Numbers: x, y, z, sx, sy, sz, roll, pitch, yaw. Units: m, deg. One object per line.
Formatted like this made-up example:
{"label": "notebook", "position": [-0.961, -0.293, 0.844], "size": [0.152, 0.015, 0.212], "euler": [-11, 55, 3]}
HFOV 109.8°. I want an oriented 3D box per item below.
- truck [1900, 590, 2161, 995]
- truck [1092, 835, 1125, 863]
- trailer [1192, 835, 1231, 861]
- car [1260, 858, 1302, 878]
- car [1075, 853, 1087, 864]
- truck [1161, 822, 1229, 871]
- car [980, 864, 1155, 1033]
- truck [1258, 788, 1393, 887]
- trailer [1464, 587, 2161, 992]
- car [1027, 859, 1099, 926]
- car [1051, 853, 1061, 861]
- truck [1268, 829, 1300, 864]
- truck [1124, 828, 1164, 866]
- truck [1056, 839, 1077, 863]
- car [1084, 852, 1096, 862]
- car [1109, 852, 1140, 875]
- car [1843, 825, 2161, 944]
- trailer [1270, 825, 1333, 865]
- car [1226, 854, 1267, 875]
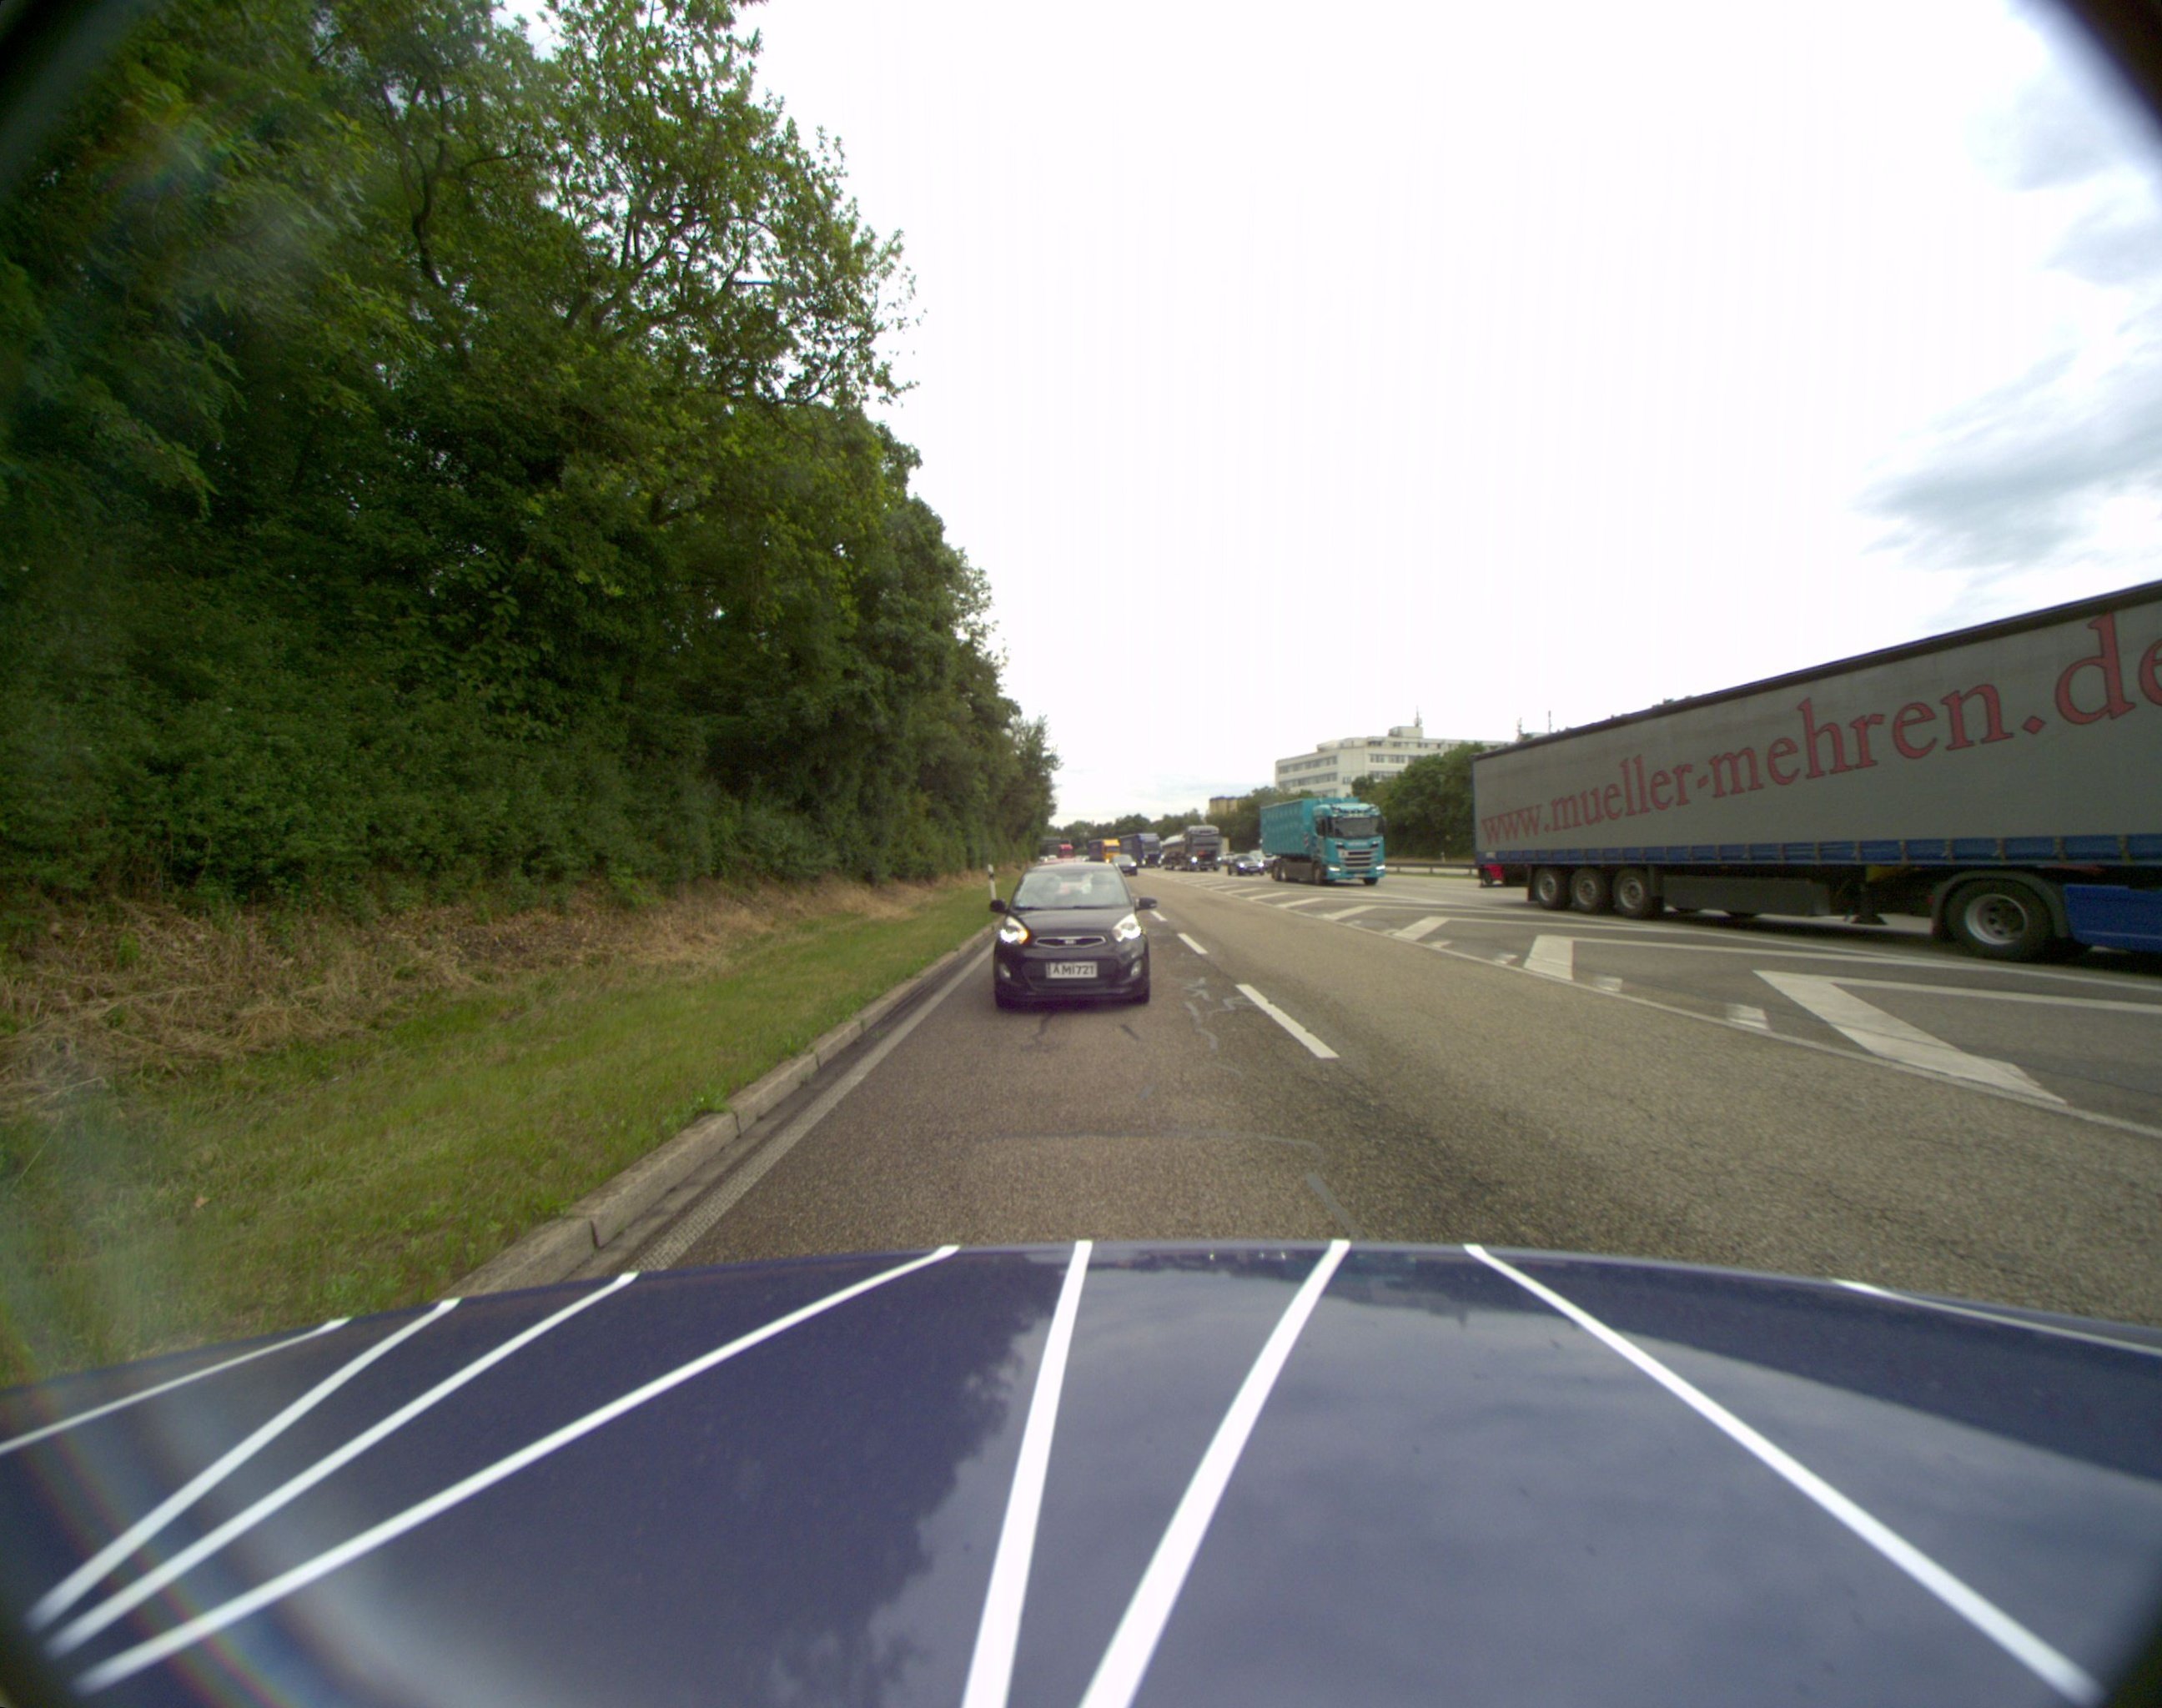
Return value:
{"label": "truck", "position": [11.881, -0.619, 6.785], "size": [2.675, 3.938, 5.926], "euler": [-1, 0, -1]}
{"label": "truck", "position": [4.382, -0.730, 124.686], "size": [2.848, 4.206, 14.110], "euler": [-1, 0, -8]}
{"label": "trailer", "position": [20.698, -0.886, 121.629], "size": [2.405, 4.005, 13.068], "euler": [-1, 0, -7]}
{"label": "car", "position": [15.149, 1.051, 57.704], "size": [1.898, 1.425, 4.054], "euler": [-1, 0, -3]}
{"label": "car", "position": [-0.013, 0.686, 113.057], "size": [1.602, 1.543, 3.301], "euler": [-1, 0, -5]}
{"label": "truck", "position": [10.109, -0.623, 69.329], "size": [3.329, 3.902, 13.140], "euler": [-1, 0, -4]}
{"label": "car", "position": [-0.100, 0.910, 9.071], "size": [1.584, 1.485, 4.000], "euler": [-2, 0, 1]}
{"label": "truck", "position": [11.126, -0.667, 35.936], "size": [2.700, 3.977, 10.122], "euler": [-1, 0, -2]}
{"label": "trailer", "position": [11.779, -0.658, 13.508], "size": [2.680, 3.951, 13.918], "euler": [-1, 0, -1]}
{"label": "car", "position": [-0.431, 0.900, 19.400], "size": [1.631, 1.492, 3.563], "euler": [-1, 0, 0]}
{"label": "car", "position": [-5.138, 0.629, 155.757], "size": [1.583, 1.442, 3.387], "euler": [-1, 0, -7]}
{"label": "truck", "position": [24.062, -0.881, 90.126], "size": [2.603, 3.967, 3.999], "euler": [-1, 0, -1]}
{"label": "truck", "position": [7.617, -0.814, 94.110], "size": [2.814, 4.206, 14.001], "euler": [-1, 0, -4]}
{"label": "truck", "position": [-3.379, -0.722, 170.773], "size": [2.848, 5.070, 14.110], "euler": [-1, 0, -8]}
{"label": "car", "position": [1.698, 0.566, 145.662], "size": [1.700, 1.704, 3.864], "euler": [-1, 0, -9]}
{"label": "car", "position": [3.333, 0.721, 58.772], "size": [1.906, 1.653, 4.750], "euler": [-1, 0, -3]}
{"label": "car", "position": [16.068, 0.401, 12.602], "size": [1.789, 1.668, 5.085], "euler": [-1, 0, 1]}
{"label": "trailer", "position": [23.916, -0.884, 83.265], "size": [2.600, 3.959, 13.781], "euler": [-1, 0, -1]}
{"label": "car", "position": [10.905, 0.660, 50.226], "size": [1.757, 1.314, 3.999], "euler": [-1, 0, -1]}
